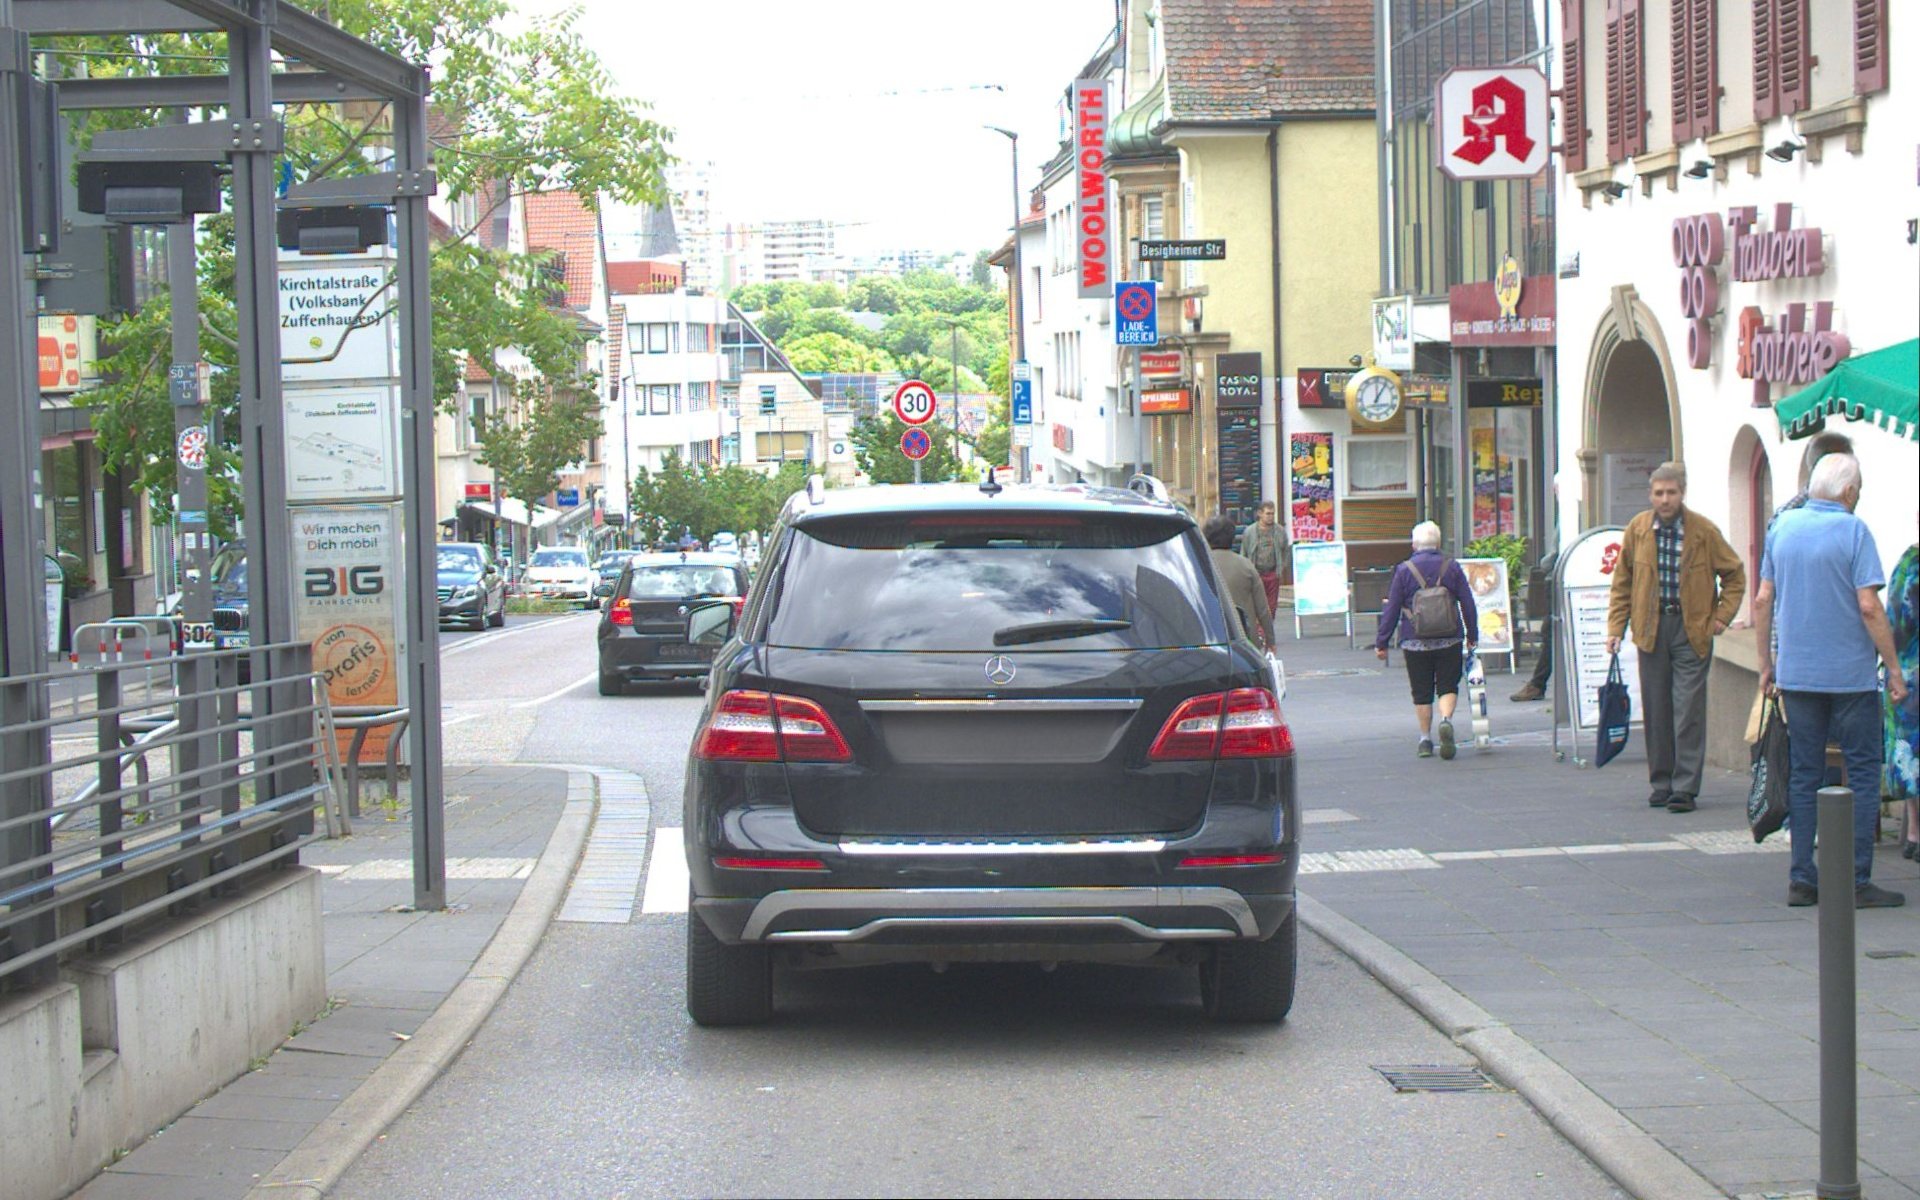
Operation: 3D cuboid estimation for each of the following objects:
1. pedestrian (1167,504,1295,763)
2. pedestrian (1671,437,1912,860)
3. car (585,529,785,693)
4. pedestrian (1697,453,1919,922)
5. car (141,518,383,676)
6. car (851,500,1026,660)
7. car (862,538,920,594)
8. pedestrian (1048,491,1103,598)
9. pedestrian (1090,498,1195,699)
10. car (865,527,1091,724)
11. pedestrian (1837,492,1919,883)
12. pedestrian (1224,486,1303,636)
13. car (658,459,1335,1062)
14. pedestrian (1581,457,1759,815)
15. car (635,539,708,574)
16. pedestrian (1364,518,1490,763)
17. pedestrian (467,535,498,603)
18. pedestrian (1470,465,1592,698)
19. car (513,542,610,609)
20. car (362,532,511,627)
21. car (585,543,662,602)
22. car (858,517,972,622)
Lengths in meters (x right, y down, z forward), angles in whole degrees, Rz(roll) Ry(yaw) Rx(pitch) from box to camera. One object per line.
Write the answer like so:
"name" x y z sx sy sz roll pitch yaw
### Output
"pedestrian" 1.765 0.204 22.377 0.772 1.639 0.870 -1 1 5
"pedestrian" 3.758 0.202 15.534 0.780 1.851 0.701 -1 1 42
"car" -2.764 0.069 35.282 1.785 1.535 3.745 -2 1 -1
"pedestrian" 3.298 0.324 13.332 0.701 1.760 0.625 -1 1 25
"car" -8.060 -0.088 40.113 2.006 1.688 4.608 0 2 -2
"car" -0.197 -0.278 41.624 1.877 1.793 4.732 -1 1 2
"car" -2.512 -1.245 124.882 1.938 1.885 4.707 -3 1 -2
"pedestrian" 1.895 -0.911 56.369 0.796 1.721 1.053 -2 1 -1
"pedestrian" 1.555 -0.019 29.116 0.824 1.660 0.802 -1 1 5
"car" 0.121 0.164 30.097 1.803 1.550 3.954 -2 1 -1
"pedestrian" 4.092 0.349 14.484 0.623 1.607 0.702 -1 1 4
"pedestrian" 3.534 -0.461 40.015 0.864 1.701 0.945 -1 1 5
"car" 0.078 0.420 12.011 1.943 1.734 4.179 0 1 -1
"pedestrian" 3.661 0.177 17.767 0.786 1.795 0.676 -1 1 5
"car" -16.270 -2.459 194.025 3.986 1.744 2.000 -3 0 -5
"pedestrian" 2.984 0.245 22.006 0.724 1.526 0.808 -1 1 5
"pedestrian" -10.473 -0.679 75.425 0.491 1.458 0.559 -1 1 8
"pedestrian" 4.427 -0.151 26.699 0.774 1.763 0.817 -1 1 0
"car" -9.293 -0.591 80.407 1.926 1.506 4.262 1 1 -2
"car" -8.733 -0.381 57.694 1.926 1.487 4.843 1 1 -2
"car" -9.532 -0.768 97.670 1.926 1.616 4.640 0 0 -2
"car" -0.736 -0.525 57.105 1.748 1.602 3.800 -3 1 0
